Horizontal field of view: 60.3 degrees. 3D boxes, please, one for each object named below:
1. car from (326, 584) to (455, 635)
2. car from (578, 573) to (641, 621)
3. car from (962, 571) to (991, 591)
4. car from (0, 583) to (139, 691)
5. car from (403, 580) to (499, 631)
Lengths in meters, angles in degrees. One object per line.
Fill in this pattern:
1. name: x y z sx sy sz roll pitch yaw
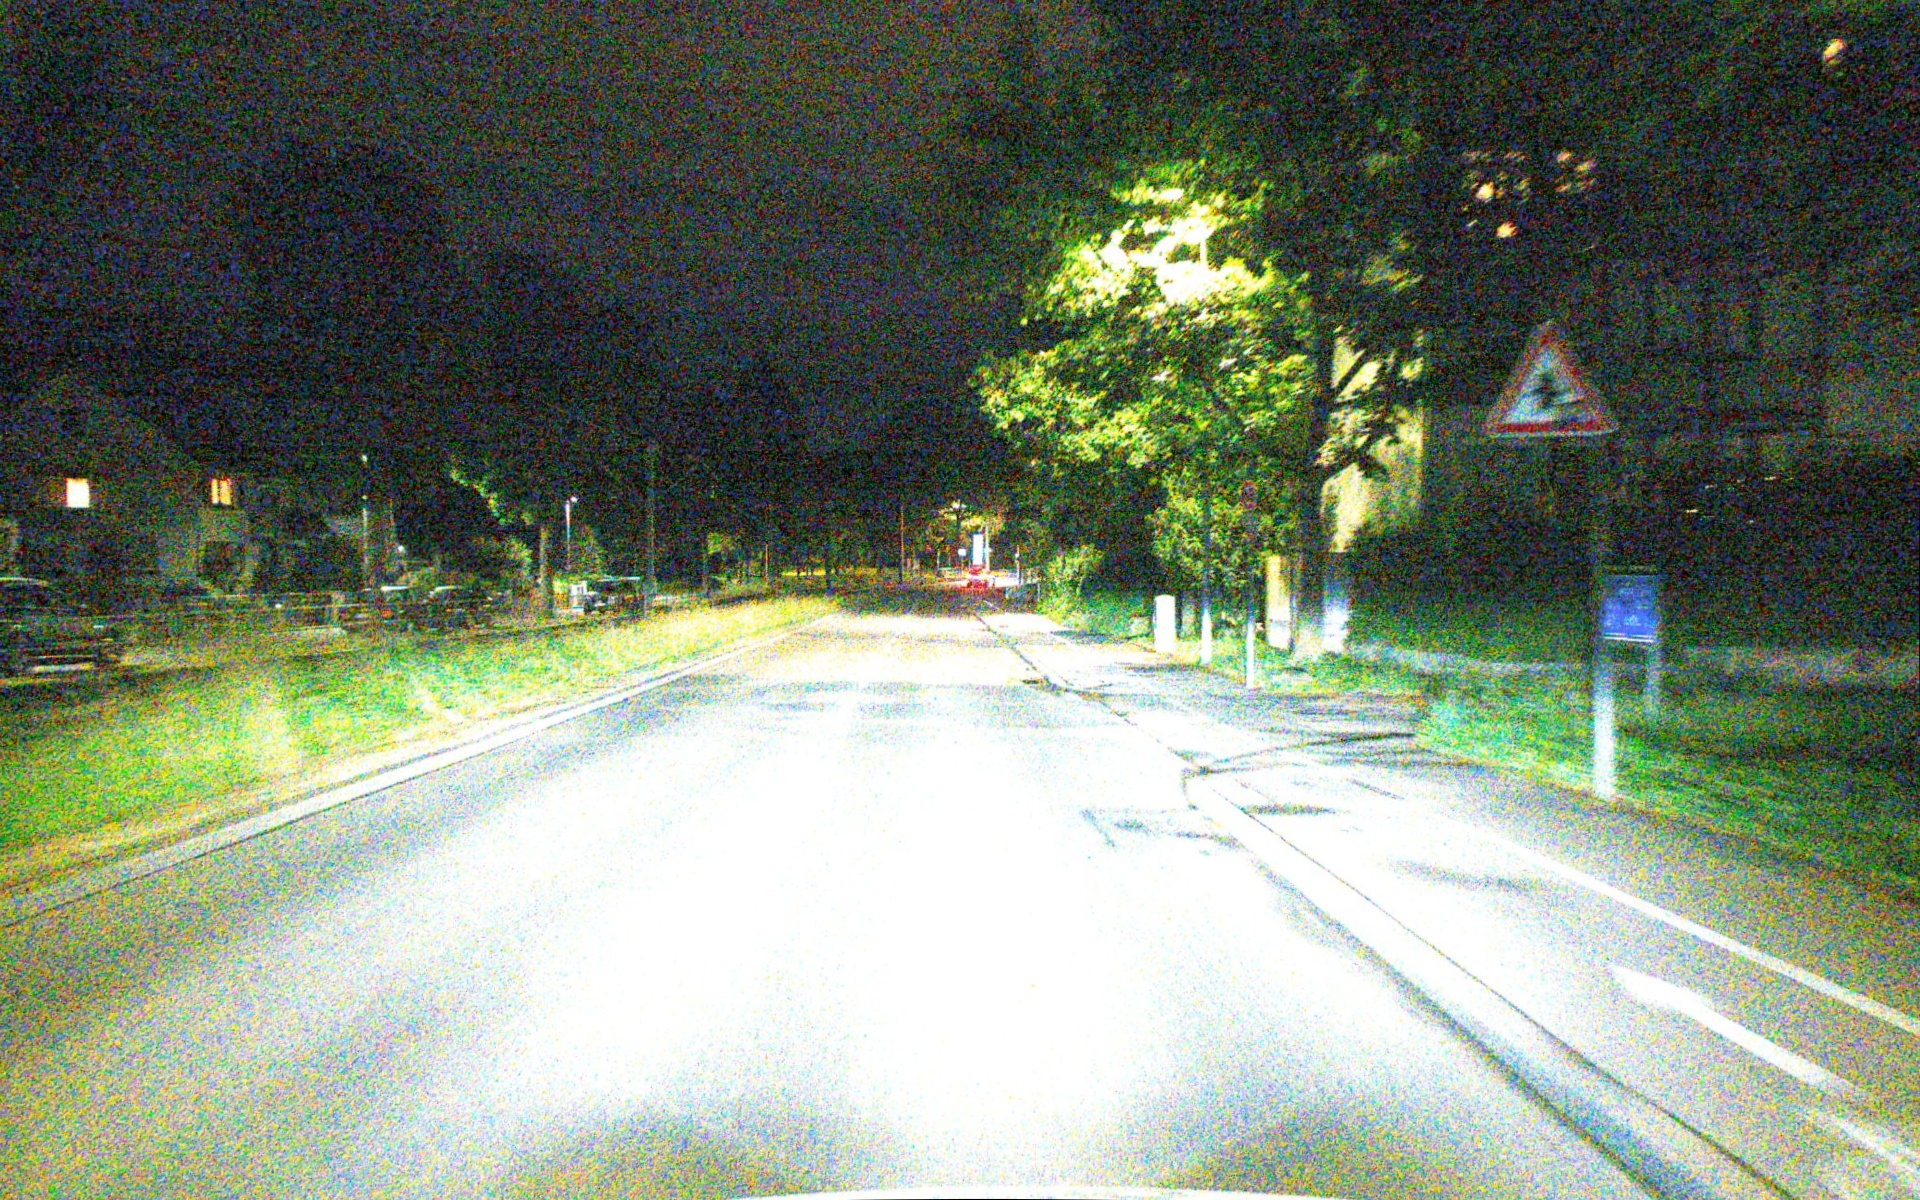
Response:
1. car: -16.132 0.230 47.154 1.953 1.361 5.430 0 0 -2
2. car: -16.469 -0.169 77.897 2.050 2.048 3.999 -4 1 -2
3. car: 1.429 -1.621 140.832 2.116 1.610 4.016 0 0 5
4. car: -15.819 0.562 27.662 1.953 1.656 4.675 0 0 -2
5. car: -16.301 0.158 53.127 1.953 1.556 3.999 0 1 -2
